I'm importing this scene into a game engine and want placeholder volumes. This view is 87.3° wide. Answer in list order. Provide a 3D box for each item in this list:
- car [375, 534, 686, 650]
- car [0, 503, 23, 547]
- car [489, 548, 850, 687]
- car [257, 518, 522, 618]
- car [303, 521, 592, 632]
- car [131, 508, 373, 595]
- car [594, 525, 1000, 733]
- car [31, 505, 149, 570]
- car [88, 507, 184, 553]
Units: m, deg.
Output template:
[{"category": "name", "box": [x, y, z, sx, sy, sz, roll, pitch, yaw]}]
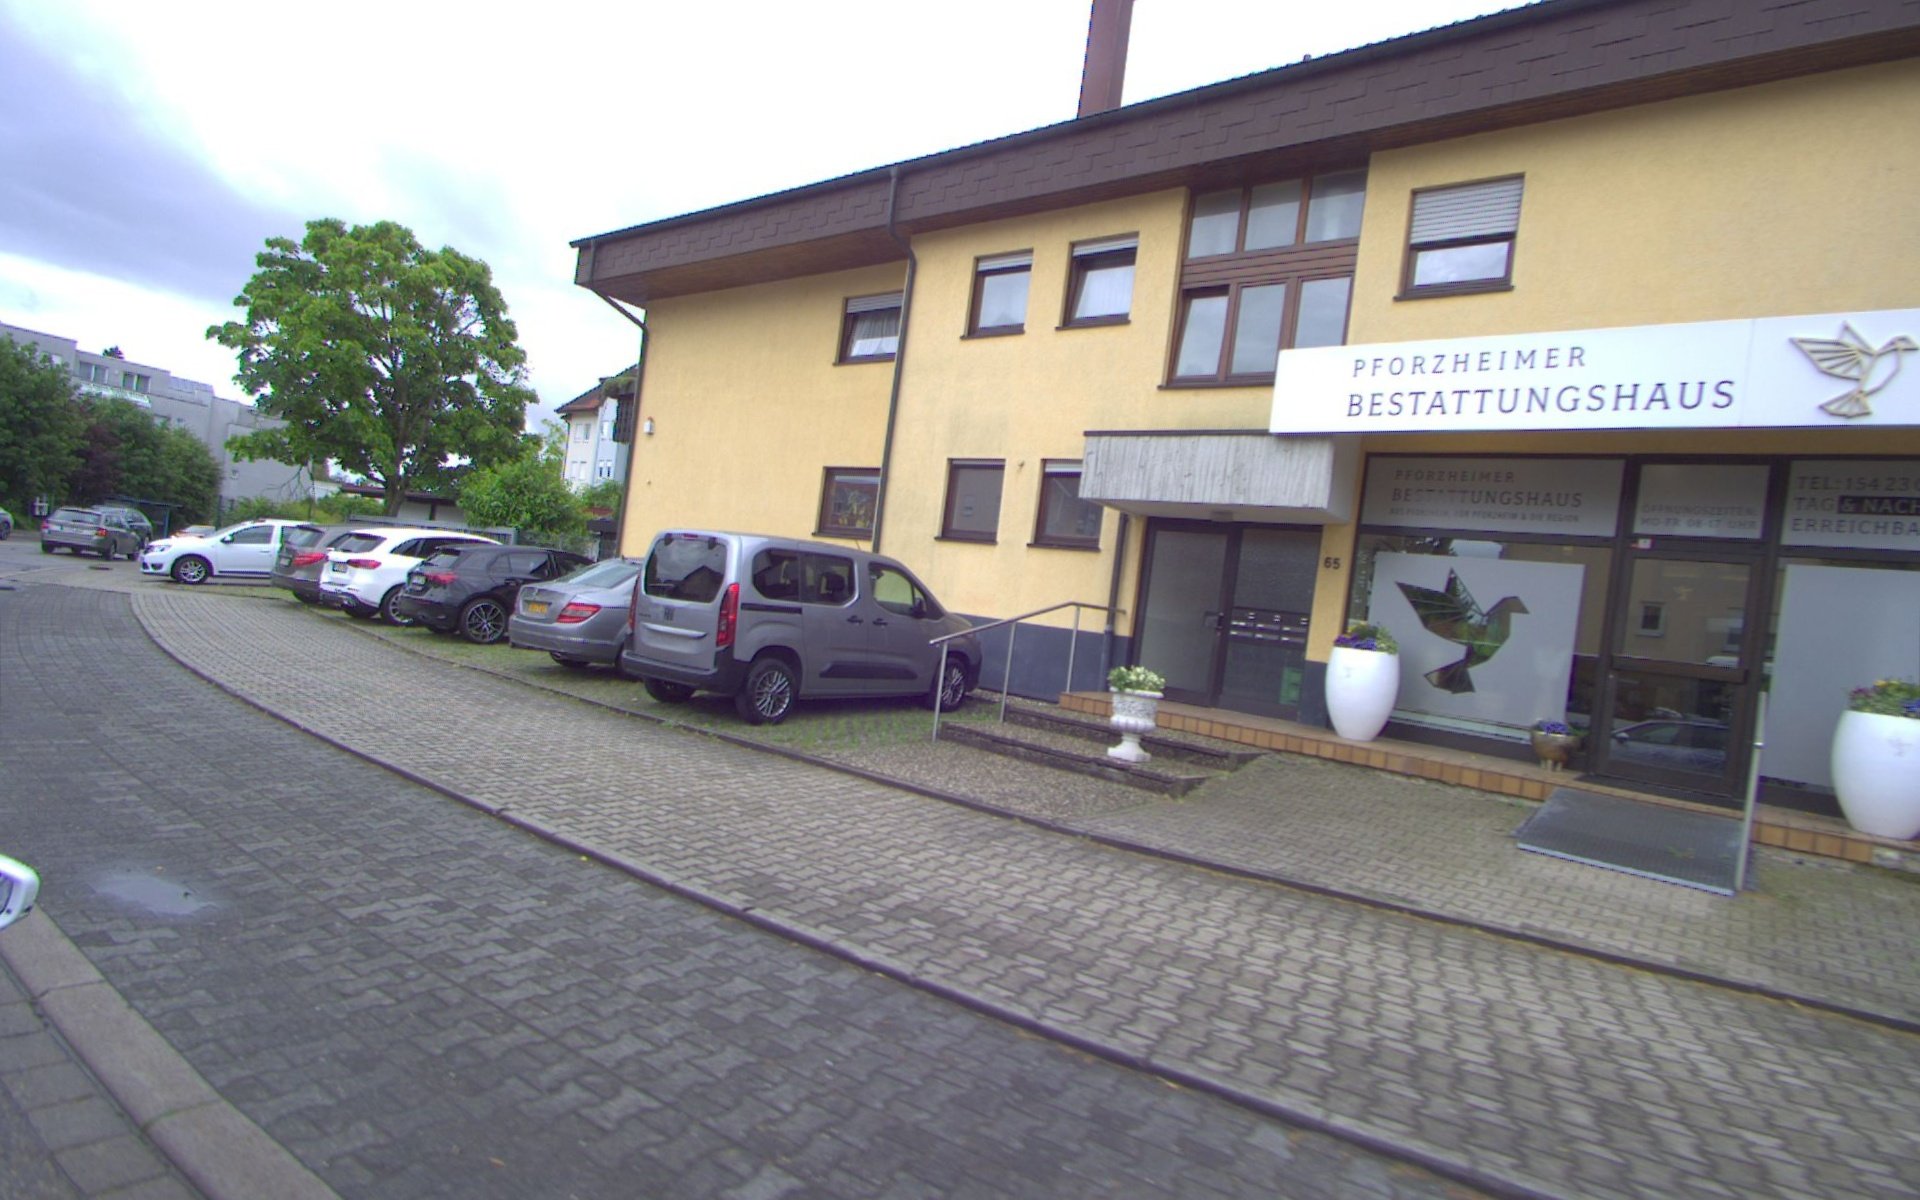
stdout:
[{"category": "car", "box": [-6.596, -0.071, 15.763, 1.878, 1.509, 4.033, 6, 2, 41]}, {"category": "car", "box": [-32.629, -2.597, 32.381, 1.882, 1.407, 4.468, 9, -1, -20]}, {"category": "car", "box": [-3.590, 0.231, 13.168, 1.670, 1.442, 4.354, 6, 2, 37]}, {"category": "car", "box": [-10.943, -0.573, 19.518, 1.877, 1.618, 4.036, 6, 2, 39]}, {"category": "car", "box": [-8.776, -0.348, 17.508, 1.867, 1.618, 4.038, 6, 2, 37]}, {"category": "car", "box": [-16.202, -1.071, 23.166, 4.323, 1.618, 1.744, 3, 2, -44]}, {"category": "car", "box": [-1.610, 0.282, 11.263, 1.876, 1.805, 4.287, 6, 2, 37]}, {"category": "car", "box": [-27.143, -1.882, 31.535, 1.750, 1.526, 3.977, 8, -4, -27]}, {"category": "car", "box": [-36.879, -3.076, 45.135, 1.882, 1.677, 4.246, 8, 0, -20]}]
